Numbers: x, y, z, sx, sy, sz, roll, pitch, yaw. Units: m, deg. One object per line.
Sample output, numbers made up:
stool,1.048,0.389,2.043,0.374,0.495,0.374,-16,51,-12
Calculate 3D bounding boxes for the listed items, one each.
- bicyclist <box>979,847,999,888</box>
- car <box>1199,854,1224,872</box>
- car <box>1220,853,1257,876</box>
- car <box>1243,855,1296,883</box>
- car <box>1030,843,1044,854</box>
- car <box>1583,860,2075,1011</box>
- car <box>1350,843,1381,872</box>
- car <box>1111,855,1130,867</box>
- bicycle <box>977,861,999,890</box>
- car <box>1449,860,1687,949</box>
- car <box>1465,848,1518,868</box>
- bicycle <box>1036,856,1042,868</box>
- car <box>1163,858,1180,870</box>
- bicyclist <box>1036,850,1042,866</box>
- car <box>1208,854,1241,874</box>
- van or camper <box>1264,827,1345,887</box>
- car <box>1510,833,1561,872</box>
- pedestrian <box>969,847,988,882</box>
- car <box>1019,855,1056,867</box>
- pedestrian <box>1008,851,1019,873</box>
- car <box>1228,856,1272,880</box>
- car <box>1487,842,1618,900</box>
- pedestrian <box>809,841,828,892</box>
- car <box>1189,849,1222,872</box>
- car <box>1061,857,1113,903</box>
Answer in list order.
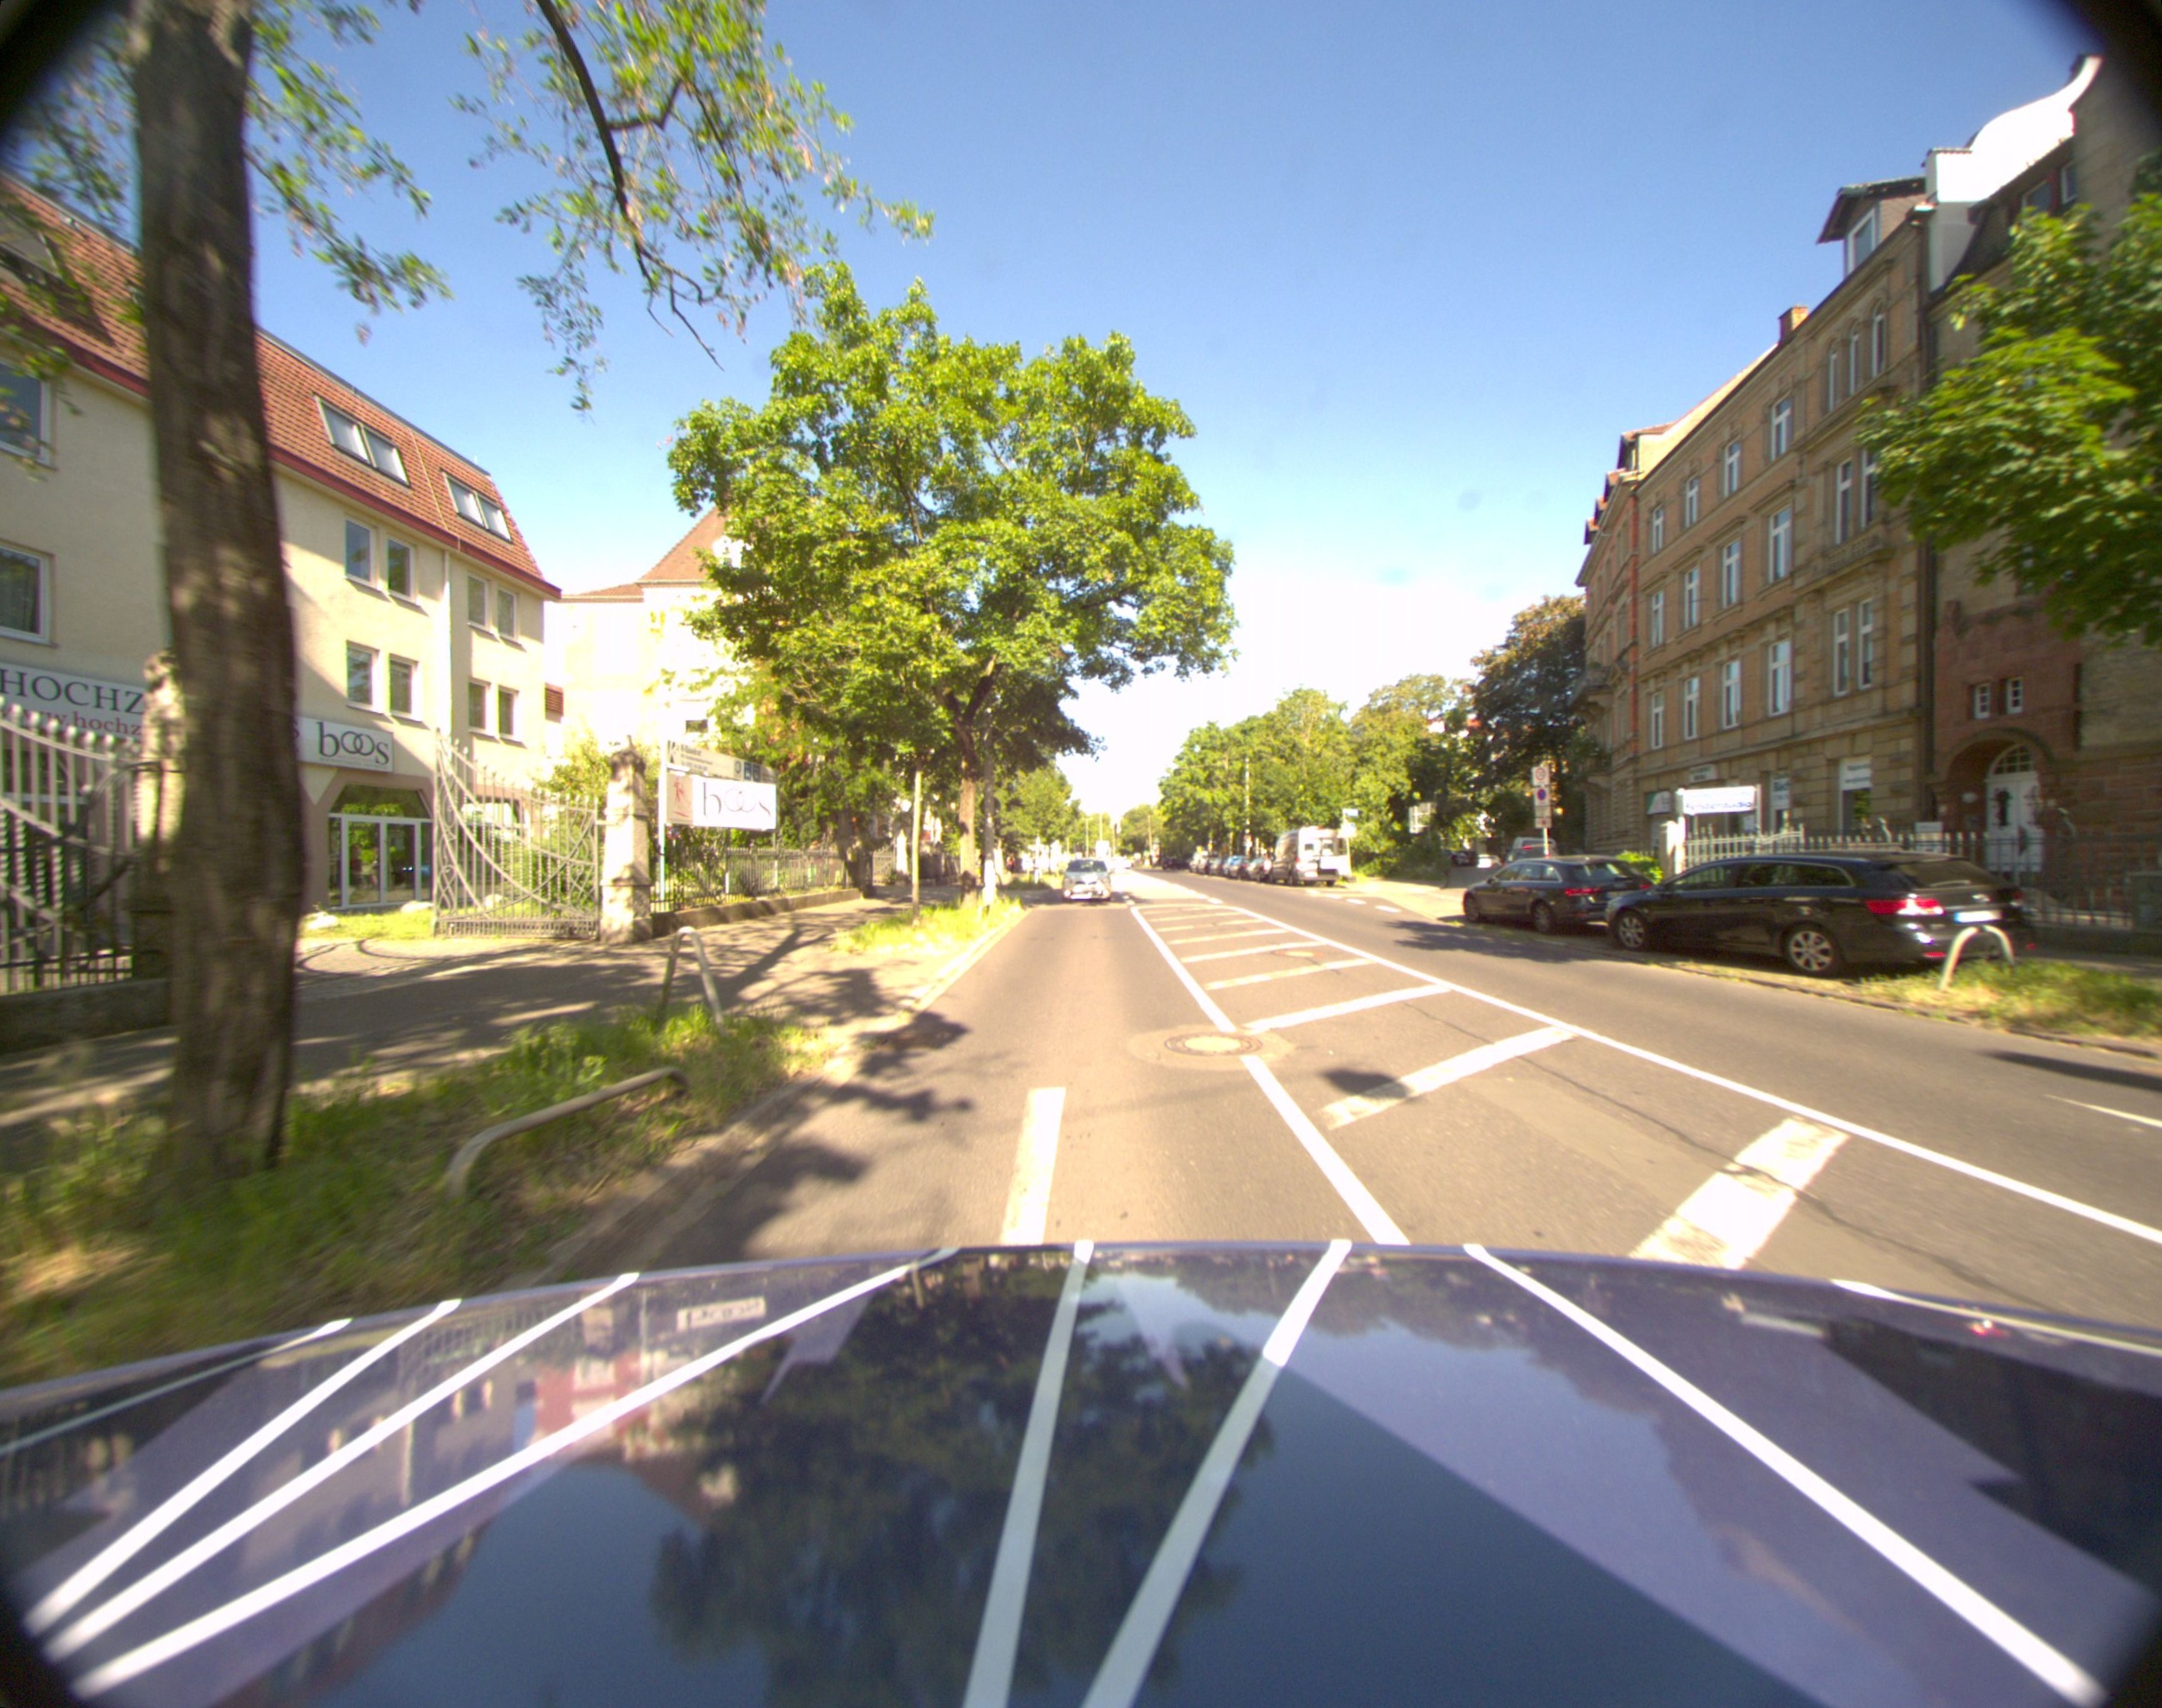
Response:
bicyclist,-3.956,0.564,32.590,0.647,1.685,0.889,3,0,1
car,11.189,0.740,65.234,1.467,1.493,3.958,1,0,1
car,11.149,0.713,53.947,1.784,1.529,4.559,-1,0,2
car,10.548,0.798,42.842,1.698,1.448,4.663,2,0,-1
car,-6.159,-0.739,105.689,1.847,1.432,4.105,3,-1,-3
car,9.503,0.874,10.395,1.861,1.485,4.704,-3,0,-4
car,20.078,0.188,53.768,1.861,1.903,4.457,2,2,18
car,4.836,0.808,94.540,1.923,1.411,4.224,-1,0,-3
bicycle,-3.978,0.896,32.576,0.654,1.169,1.843,3,0,1
car,9.579,0.893,15.515,1.860,1.419,4.720,-4,0,2
car,41.307,0.368,76.590,4.440,1.903,1.868,2,2,23
bicycle,-4.498,0.844,81.244,0.617,1.169,1.918,3,0,-3
car,10.683,1.159,89.815,1.596,1.441,4.133,0,0,1
bicyclist,-4.479,0.458,81.269,0.622,1.680,0.820,3,0,-3
car,11.070,0.754,58.785,1.594,1.473,4.270,1,0,-2
van or camper,10.775,0.145,37.172,2.222,2.723,6.088,0,0,1
car,24.063,-0.125,40.380,1.860,1.903,4.459,2,2,25
pedestrian,-5.284,0.540,39.074,0.749,1.777,0.811,3,0,1
car,-5.403,0.924,95.223,4.417,1.409,2.047,1,0,2
pedestrian,-5.045,0.587,57.074,0.696,1.649,0.820,3,1,0
car,10.497,0.859,47.441,1.785,1.405,4.405,2,0,1
car,15.687,0.549,25.233,4.150,1.660,1.996,-3,-1,-32
pedestrian,-9.160,0.428,26.532,0.533,1.768,0.541,1,0,-26
car,11.444,0.578,70.101,1.989,2.024,4.874,2,0,-3
car,0.269,0.837,26.347,1.652,1.449,3.897,0,0,2
